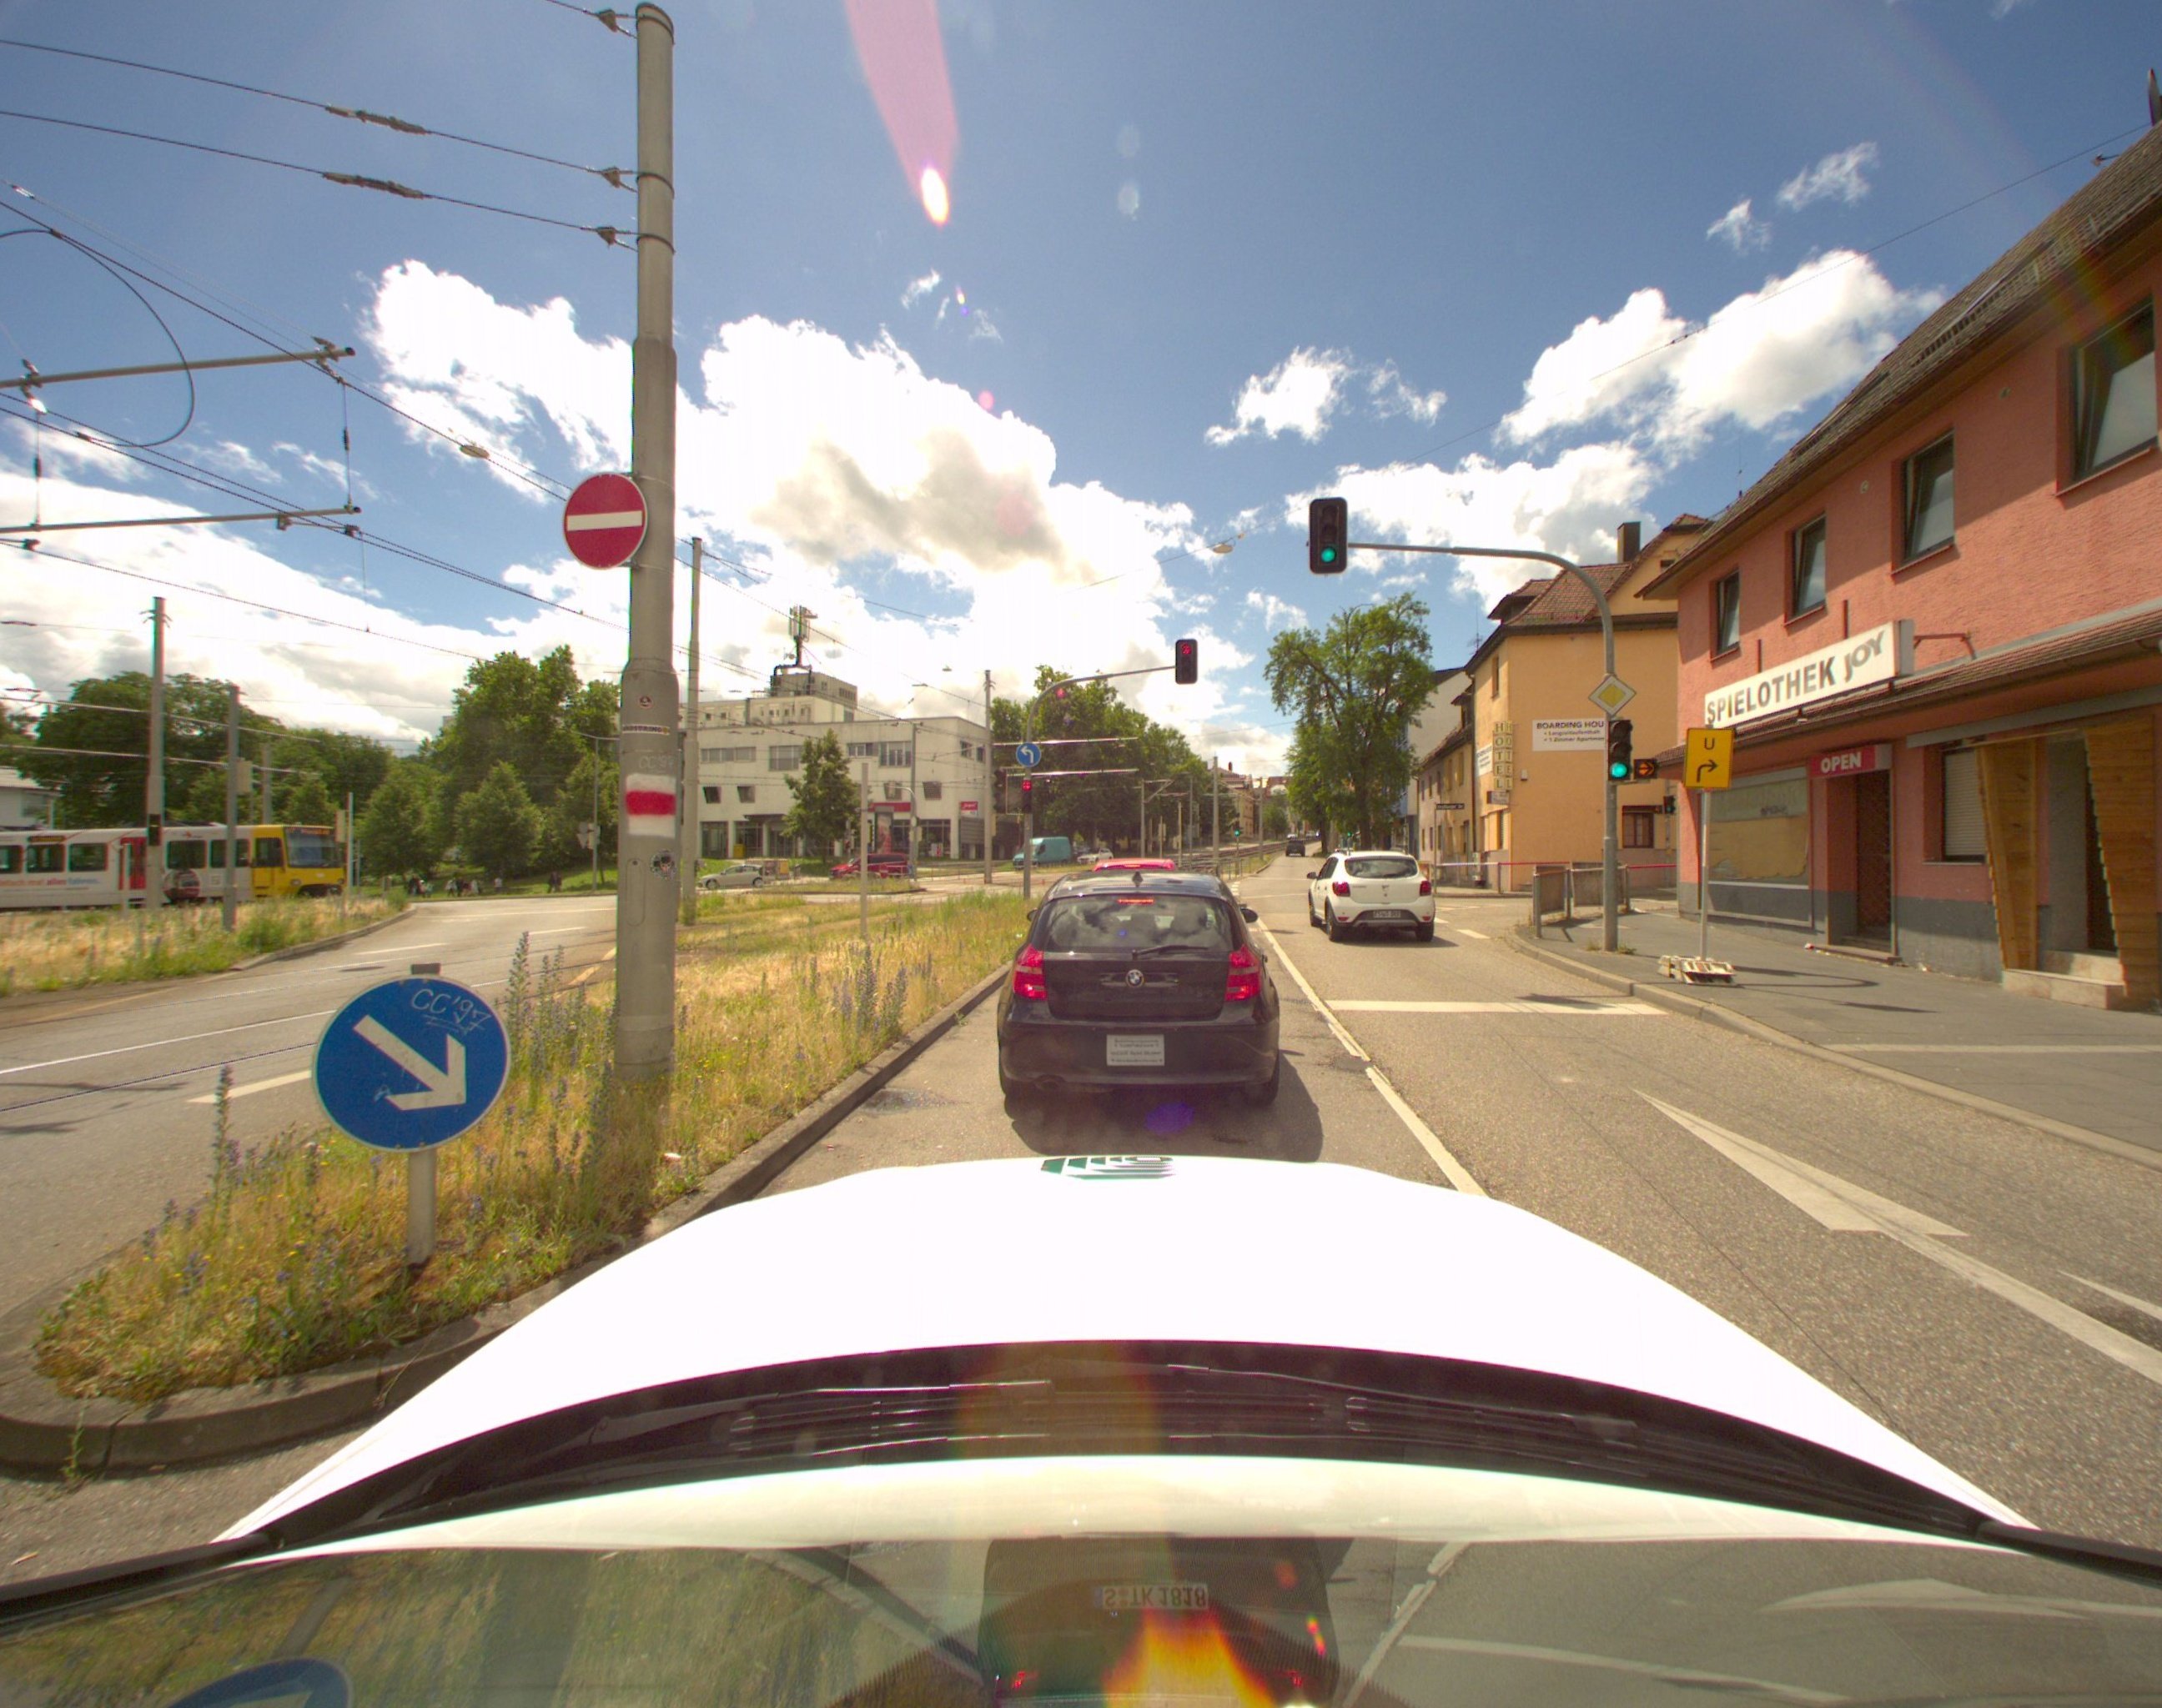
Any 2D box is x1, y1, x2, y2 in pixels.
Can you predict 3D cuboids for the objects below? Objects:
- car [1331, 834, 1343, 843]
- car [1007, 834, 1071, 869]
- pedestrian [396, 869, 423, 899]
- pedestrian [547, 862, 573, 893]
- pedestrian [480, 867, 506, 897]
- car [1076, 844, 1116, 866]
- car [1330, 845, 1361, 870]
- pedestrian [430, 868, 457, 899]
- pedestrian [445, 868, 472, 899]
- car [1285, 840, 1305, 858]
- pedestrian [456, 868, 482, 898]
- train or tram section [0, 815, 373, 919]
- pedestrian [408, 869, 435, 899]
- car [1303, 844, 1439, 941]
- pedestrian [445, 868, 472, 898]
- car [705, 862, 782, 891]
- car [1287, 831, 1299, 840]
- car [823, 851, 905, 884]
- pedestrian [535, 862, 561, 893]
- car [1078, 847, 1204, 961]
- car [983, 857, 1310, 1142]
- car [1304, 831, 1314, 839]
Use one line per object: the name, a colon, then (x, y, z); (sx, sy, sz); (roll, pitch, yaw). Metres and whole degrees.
car: (51.527, -3.071, 163.976); (1.977, 1.662, 4.020); (-2, -1, 20)
car: (-3.300, -0.225, 65.812); (2.110, 2.654, 5.726); (-2, -1, 33)
pedestrian: (-44.880, 2.002, 54.420); (1.097, 1.969, 0.866); (-2, -1, 5)
pedestrian: (-34.257, 1.549, 53.546); (1.097, 1.969, 0.865); (-2, -1, 4)
pedestrian: (-38.984, 1.860, 54.005); (1.097, 1.969, 0.865); (-2, -1, 4)
car: (1.359, 0.108, 73.204); (1.836, 1.928, 4.824); (-2, -1, 24)
car: (18.091, 0.227, 55.846); (1.774, 1.596, 4.016); (-2, -1, 15)
pedestrian: (-42.474, 1.959, 54.299); (1.097, 1.969, 0.865); (-2, -1, 4)
pedestrian: (-40.947, 1.914, 53.591); (1.097, 1.969, 0.865); (-2, -1, 4)
car: (23.401, -0.532, 89.178); (1.984, 1.887, 5.170); (-2, -1, 15)
pedestrian: (-40.874, 1.930, 54.407); (1.097, 1.969, 0.865); (-2, -1, 4)
train or tram section: (-41.307, 0.666, 34.069); (19.920, 3.814, 3.761); (-2, -1, 0)
pedestrian: (-44.784, 2.022, 55.340); (1.097, 1.969, 0.866); (-2, -1, 5)
car: (5.234, 0.631, 15.166); (1.704, 1.550, 3.803); (-2, 0, 9)
pedestrian: (-42.267, 1.974, 55.292); (1.097, 1.969, 0.865); (-2, -1, 4)
car: (-20.239, 1.317, 48.893); (4.174, 1.585, 1.844); (-1, -1, -23)
car: (48.675, -4.230, 186.913); (1.976, 2.014, 4.022); (-2, -1, 23)
car: (-13.984, 0.863, 52.669); (4.824, 2.009, 1.836); (-1, -1, -42)
pedestrian: (-34.390, 1.520, 52.532); (1.097, 1.969, 0.865); (-2, -1, 4)
car: (1.075, 0.691, 12.762); (1.616, 1.473, 4.009); (-2, -1, 8)
car: (0.340, 0.798, 6.321); (1.696, 1.452, 3.999); (-2, -1, 0)
car: (57.714, -4.768, 206.017); (1.976, 2.014, 4.022); (-2, -1, 23)
